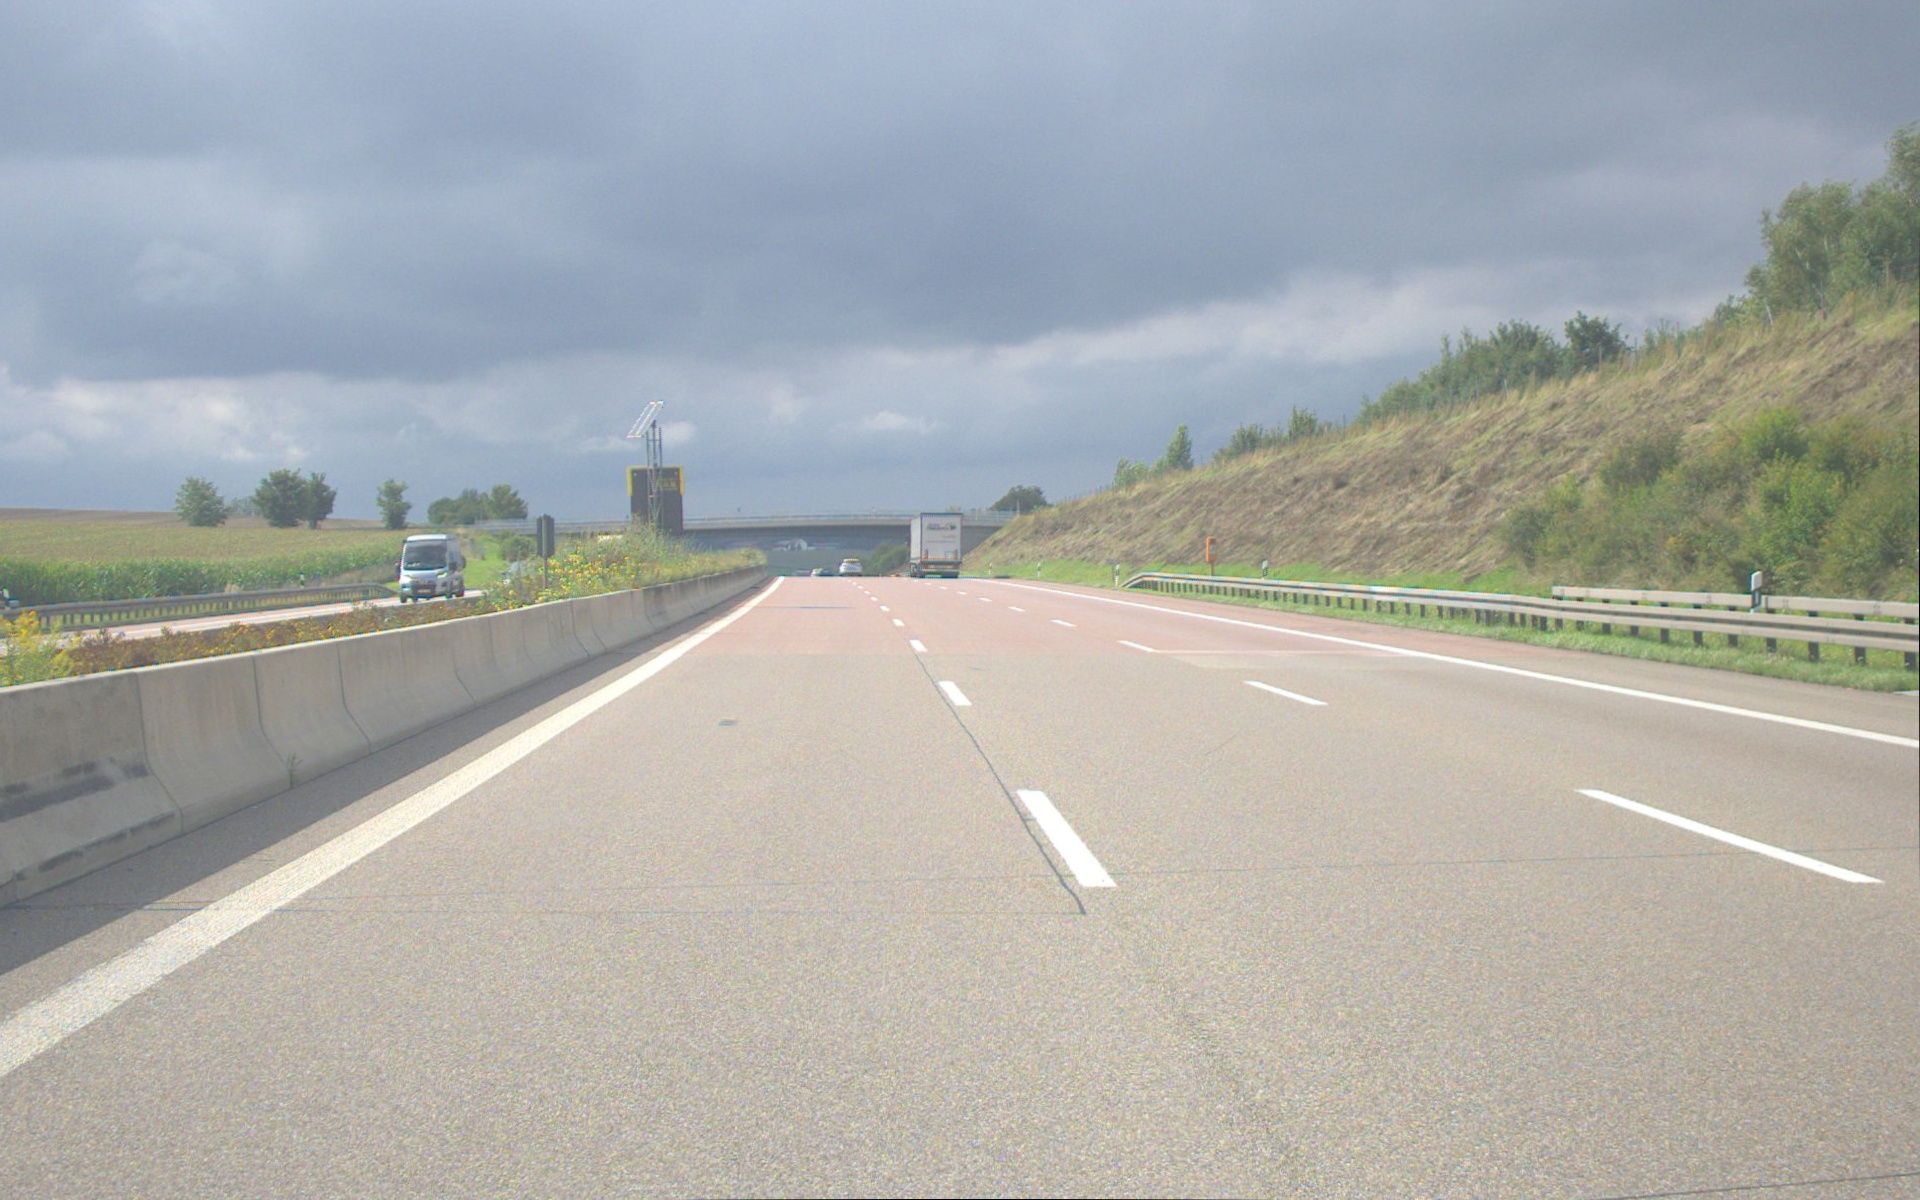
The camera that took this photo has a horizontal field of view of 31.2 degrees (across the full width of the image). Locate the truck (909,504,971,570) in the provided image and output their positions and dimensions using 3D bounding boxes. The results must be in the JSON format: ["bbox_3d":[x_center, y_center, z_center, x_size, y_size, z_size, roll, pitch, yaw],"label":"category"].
[{"bbox_3d":[-1.292,-3.991,215.629,3.617,3.932,11.175,1,1,-1],"label":"truck"}]

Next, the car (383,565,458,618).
[{"bbox_3d":[-21.024,-0.353,134.244,2.057,1.906,5.704,-1,1,-1],"label":"car"}]
